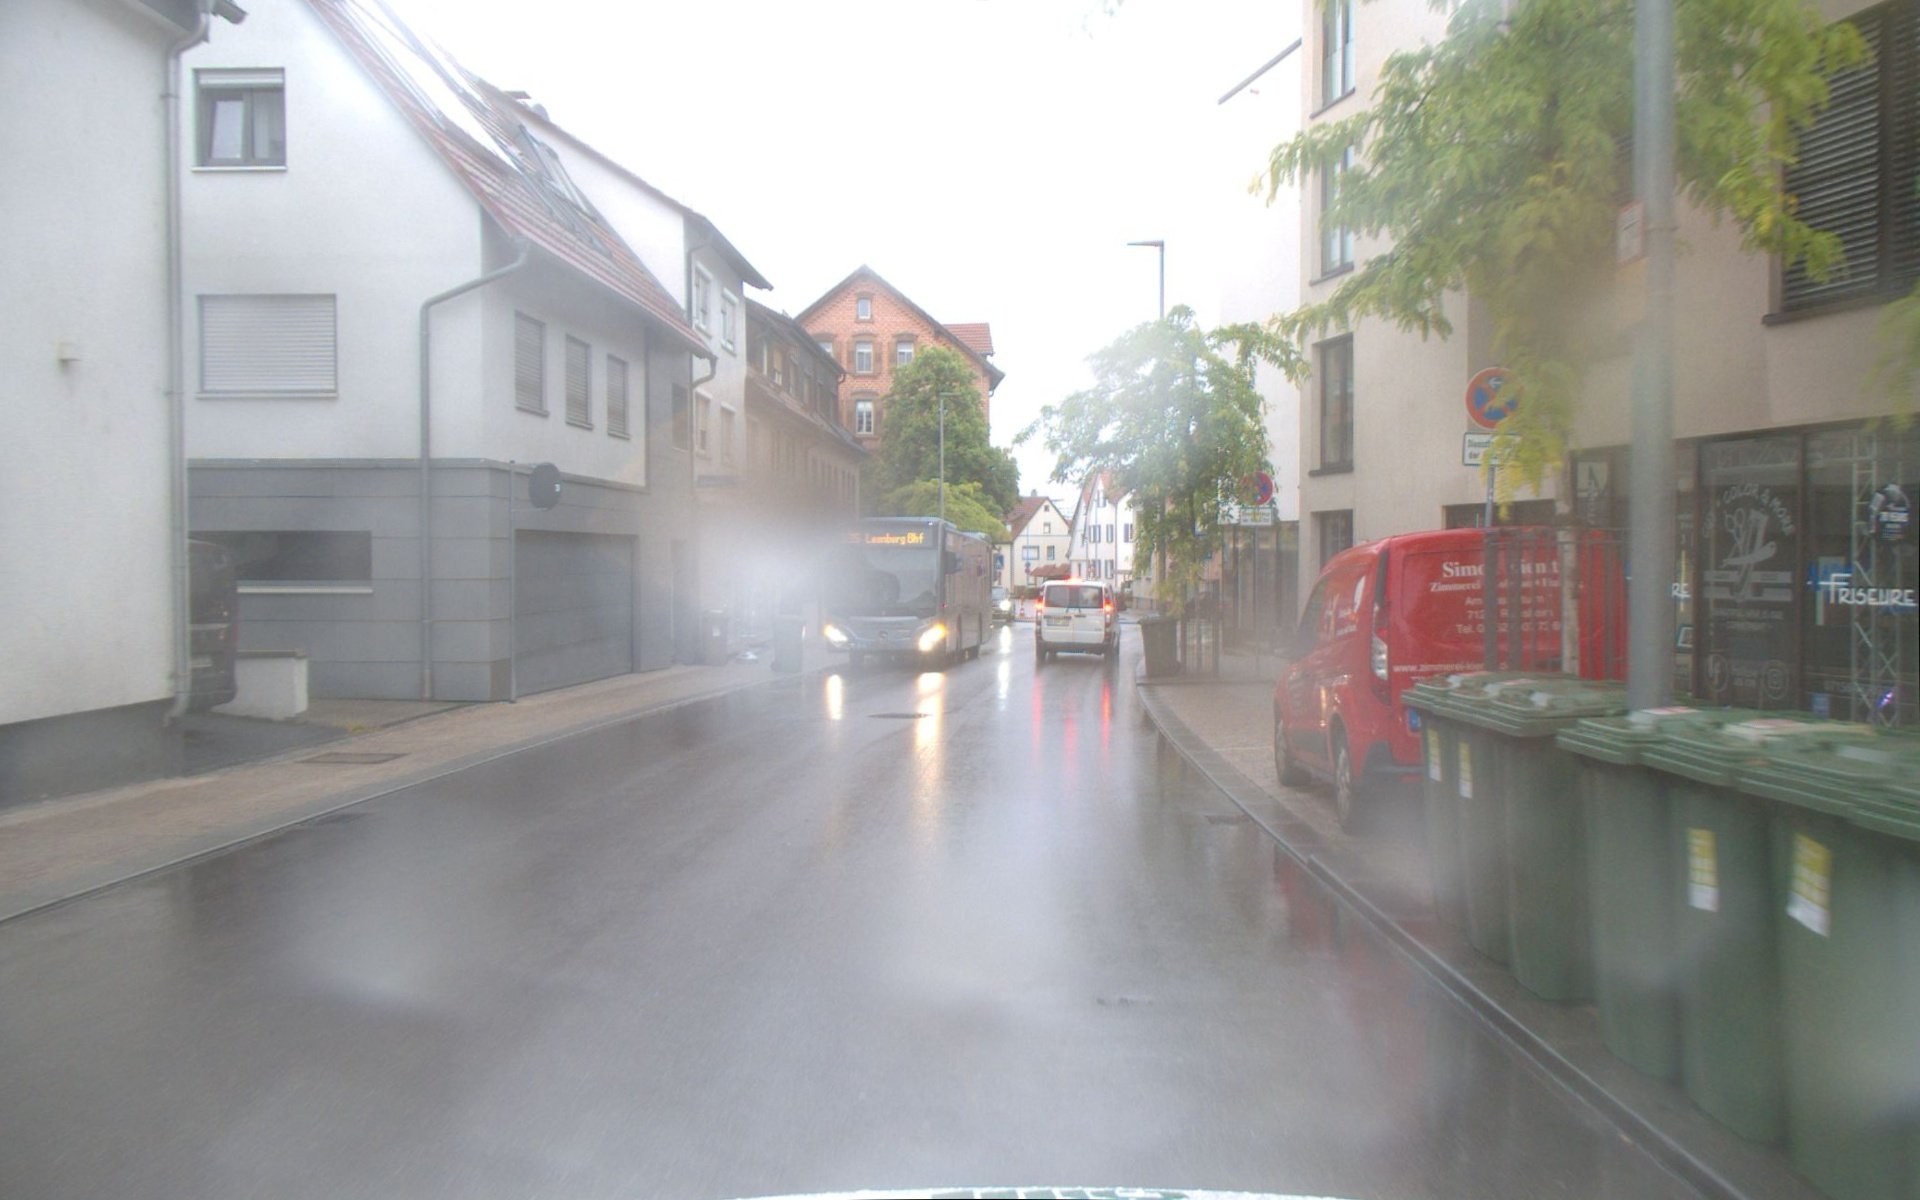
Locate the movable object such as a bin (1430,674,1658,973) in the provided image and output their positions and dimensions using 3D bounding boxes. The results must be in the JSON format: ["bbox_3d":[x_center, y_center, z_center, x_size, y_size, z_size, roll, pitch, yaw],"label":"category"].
[{"bbox_3d":[2.314,0.867,6.615,0.694,1.106,0.601,-1,0,1],"label":"movable object such as a bin"}]

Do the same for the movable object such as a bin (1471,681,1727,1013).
[{"bbox_3d":[2.301,0.867,6.013,0.694,1.106,0.601,-1,0,1],"label":"movable object such as a bin"}]

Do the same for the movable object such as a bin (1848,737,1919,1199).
[{"bbox_3d":[2.315,0.853,3.351,0.695,1.106,0.601,-1,0,-1],"label":"movable object such as a bin"}]

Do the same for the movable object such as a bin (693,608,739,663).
[{"bbox_3d":[-4.880,0.707,33.145,0.776,1.078,0.702,1,0,3],"label":"movable object such as a bin"}]

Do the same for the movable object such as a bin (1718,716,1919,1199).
[{"bbox_3d":[2.310,0.856,3.965,0.695,1.106,0.601,-1,0,-1],"label":"movable object such as a bin"}]

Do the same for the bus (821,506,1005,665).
[{"bbox_3d":[-0.795,-0.335,38.504,2.666,3.133,10.955,1,1,7],"label":"bus"}]

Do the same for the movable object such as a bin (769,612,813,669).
[{"bbox_3d":[-3.259,0.782,31.983,0.725,1.078,0.726,1,0,3],"label":"movable object such as a bin"}]

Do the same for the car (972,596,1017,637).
[{"bbox_3d":[1.453,0.659,68.710,1.749,1.534,4.471,1,1,2],"label":"car"}]

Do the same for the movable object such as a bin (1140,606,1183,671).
[{"bbox_3d":[3.768,0.707,30.906,0.735,1.191,0.631,-1,-1,10],"label":"movable object such as a bin"}]

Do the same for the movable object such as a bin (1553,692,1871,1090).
[{"bbox_3d":[2.295,0.861,5.108,0.695,1.106,0.601,-1,0,-1],"label":"movable object such as a bin"}]

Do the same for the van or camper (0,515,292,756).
[{"bbox_3d":[-9.297,0.162,15.726,4.921,1.966,2.001,6,0,2],"label":"van or camper"}]

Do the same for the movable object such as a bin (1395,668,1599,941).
[{"bbox_3d":[2.329,0.869,7.229,0.694,1.106,0.601,-1,0,1],"label":"movable object such as a bin"}]

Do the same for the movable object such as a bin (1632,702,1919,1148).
[{"bbox_3d":[2.301,0.857,4.538,0.688,1.106,0.515,-1,0,-1],"label":"movable object such as a bin"}]

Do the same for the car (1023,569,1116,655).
[{"bbox_3d":[2.707,0.286,40.347,2.107,1.932,4.928,1,0,5],"label":"car"}]

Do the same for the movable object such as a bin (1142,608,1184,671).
[{"bbox_3d":[3.873,0.752,31.561,0.735,1.191,0.631,-1,-1,10],"label":"movable object such as a bin"}]

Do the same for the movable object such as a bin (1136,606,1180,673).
[{"bbox_3d":[3.597,0.715,29.997,0.735,1.191,0.631,-1,-1,10],"label":"movable object such as a bin"}]

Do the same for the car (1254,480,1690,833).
[{"bbox_3d":[3.285,0.339,11.615,1.797,1.940,4.606,-2,-1,3],"label":"car"}]
